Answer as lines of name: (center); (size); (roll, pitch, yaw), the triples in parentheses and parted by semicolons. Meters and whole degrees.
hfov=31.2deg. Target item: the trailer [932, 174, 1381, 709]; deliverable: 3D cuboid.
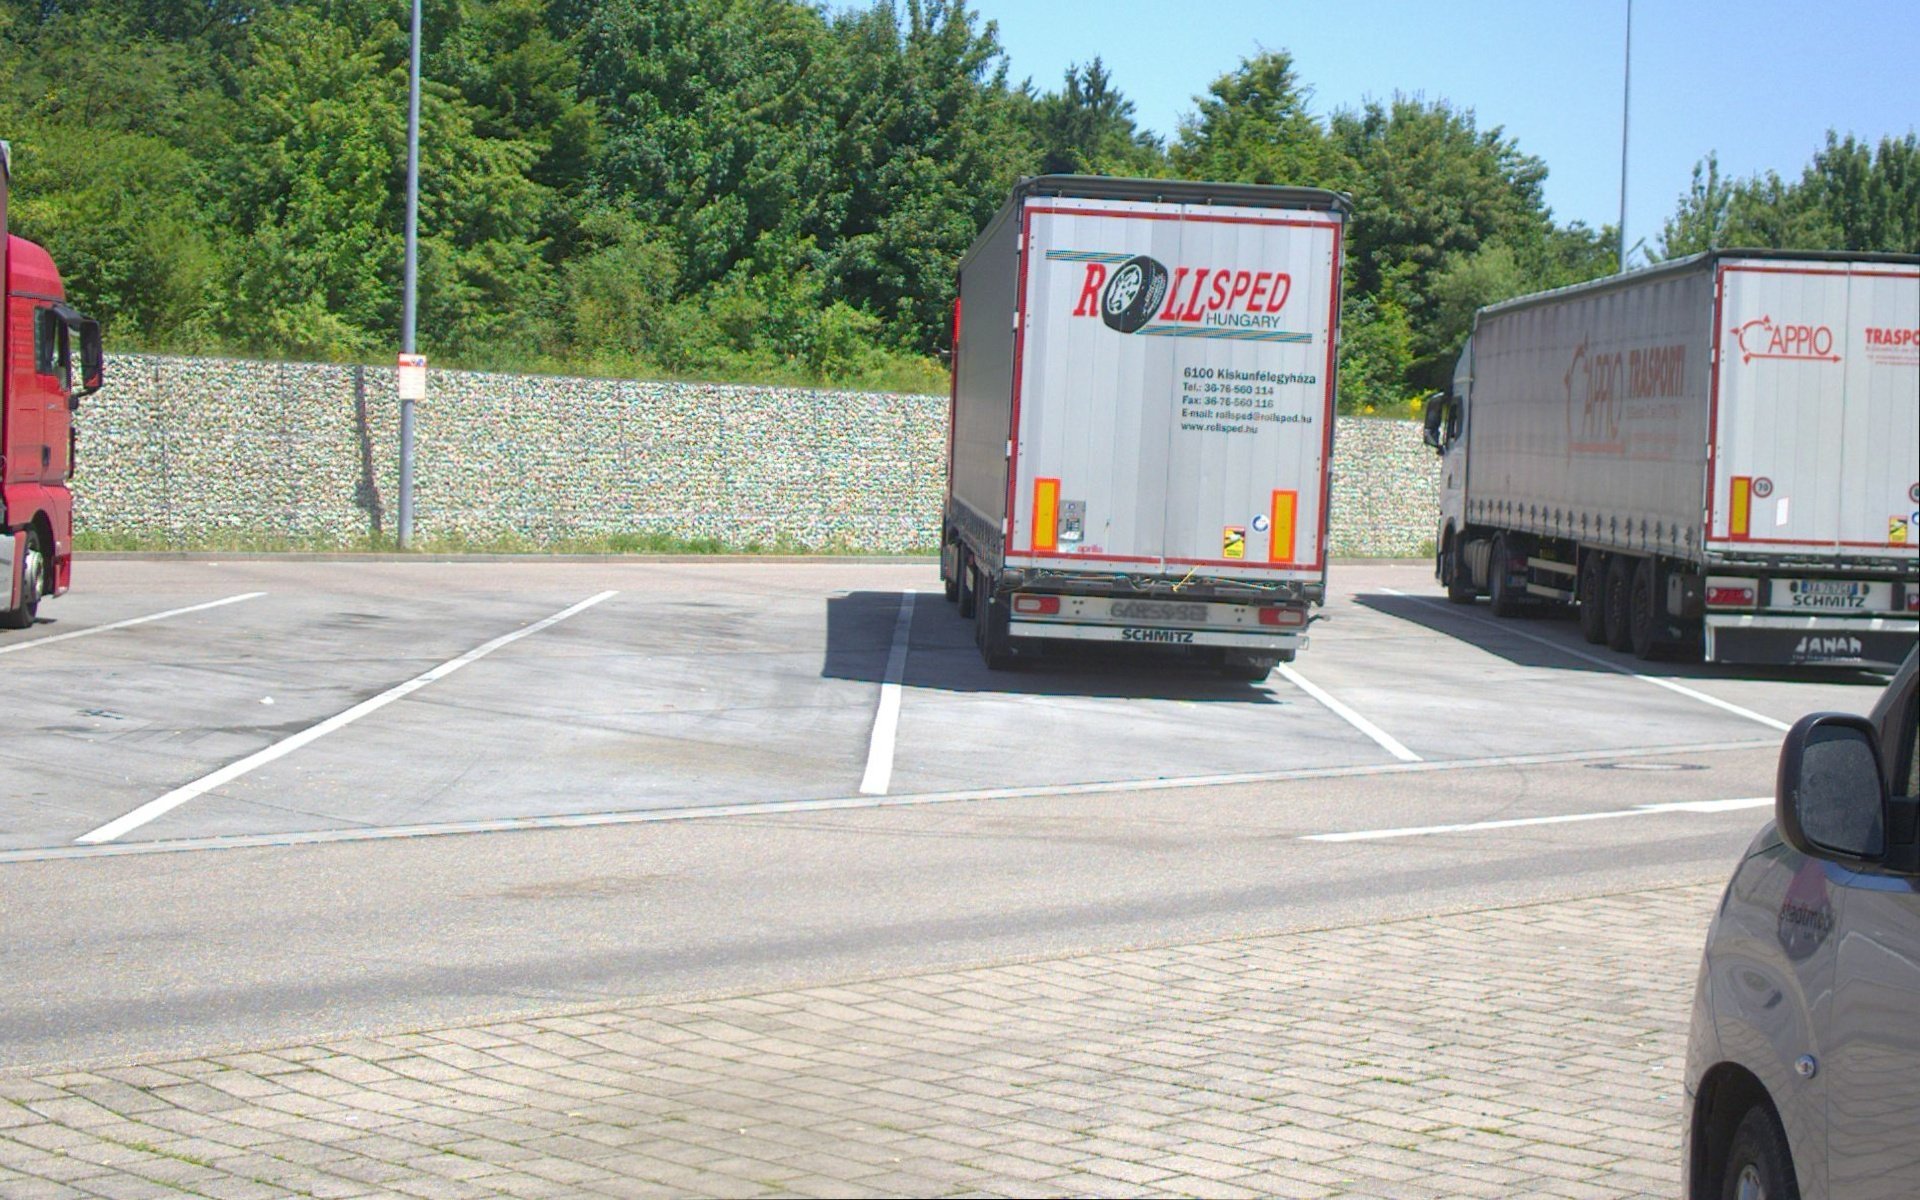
trailer: (1.446, -1.599, 33.607); (3.133, 3.976, 14.397); (2, 3, -1)

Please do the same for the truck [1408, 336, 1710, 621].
truck: (8.020, -1.706, 46.820); (2.862, 3.509, 5.900); (2, 3, -1)

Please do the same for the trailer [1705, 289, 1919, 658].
trailer: (11.754, -1.461, 39.771); (2.811, 3.976, 14.396); (2, 3, -1)

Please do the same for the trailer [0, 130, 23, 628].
trailer: (-9.196, -1.494, 21.558); (2.791, 4.071, 14.133); (2, 3, -1)

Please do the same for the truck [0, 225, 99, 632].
truck: (-9.240, -1.450, 28.132); (2.851, 3.316, 5.900); (2, 3, -1)

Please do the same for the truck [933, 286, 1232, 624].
truck: (1.309, -1.742, 40.499); (3.103, 3.554, 5.900); (2, 3, -1)

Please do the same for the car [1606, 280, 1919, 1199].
car: (2.147, 0.583, 3.839); (1.869, 1.857, 4.177); (2, 2, -2)

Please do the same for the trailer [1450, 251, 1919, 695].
trailer: (8.113, -1.529, 38.719); (2.811, 3.976, 14.396); (2, 3, -1)
